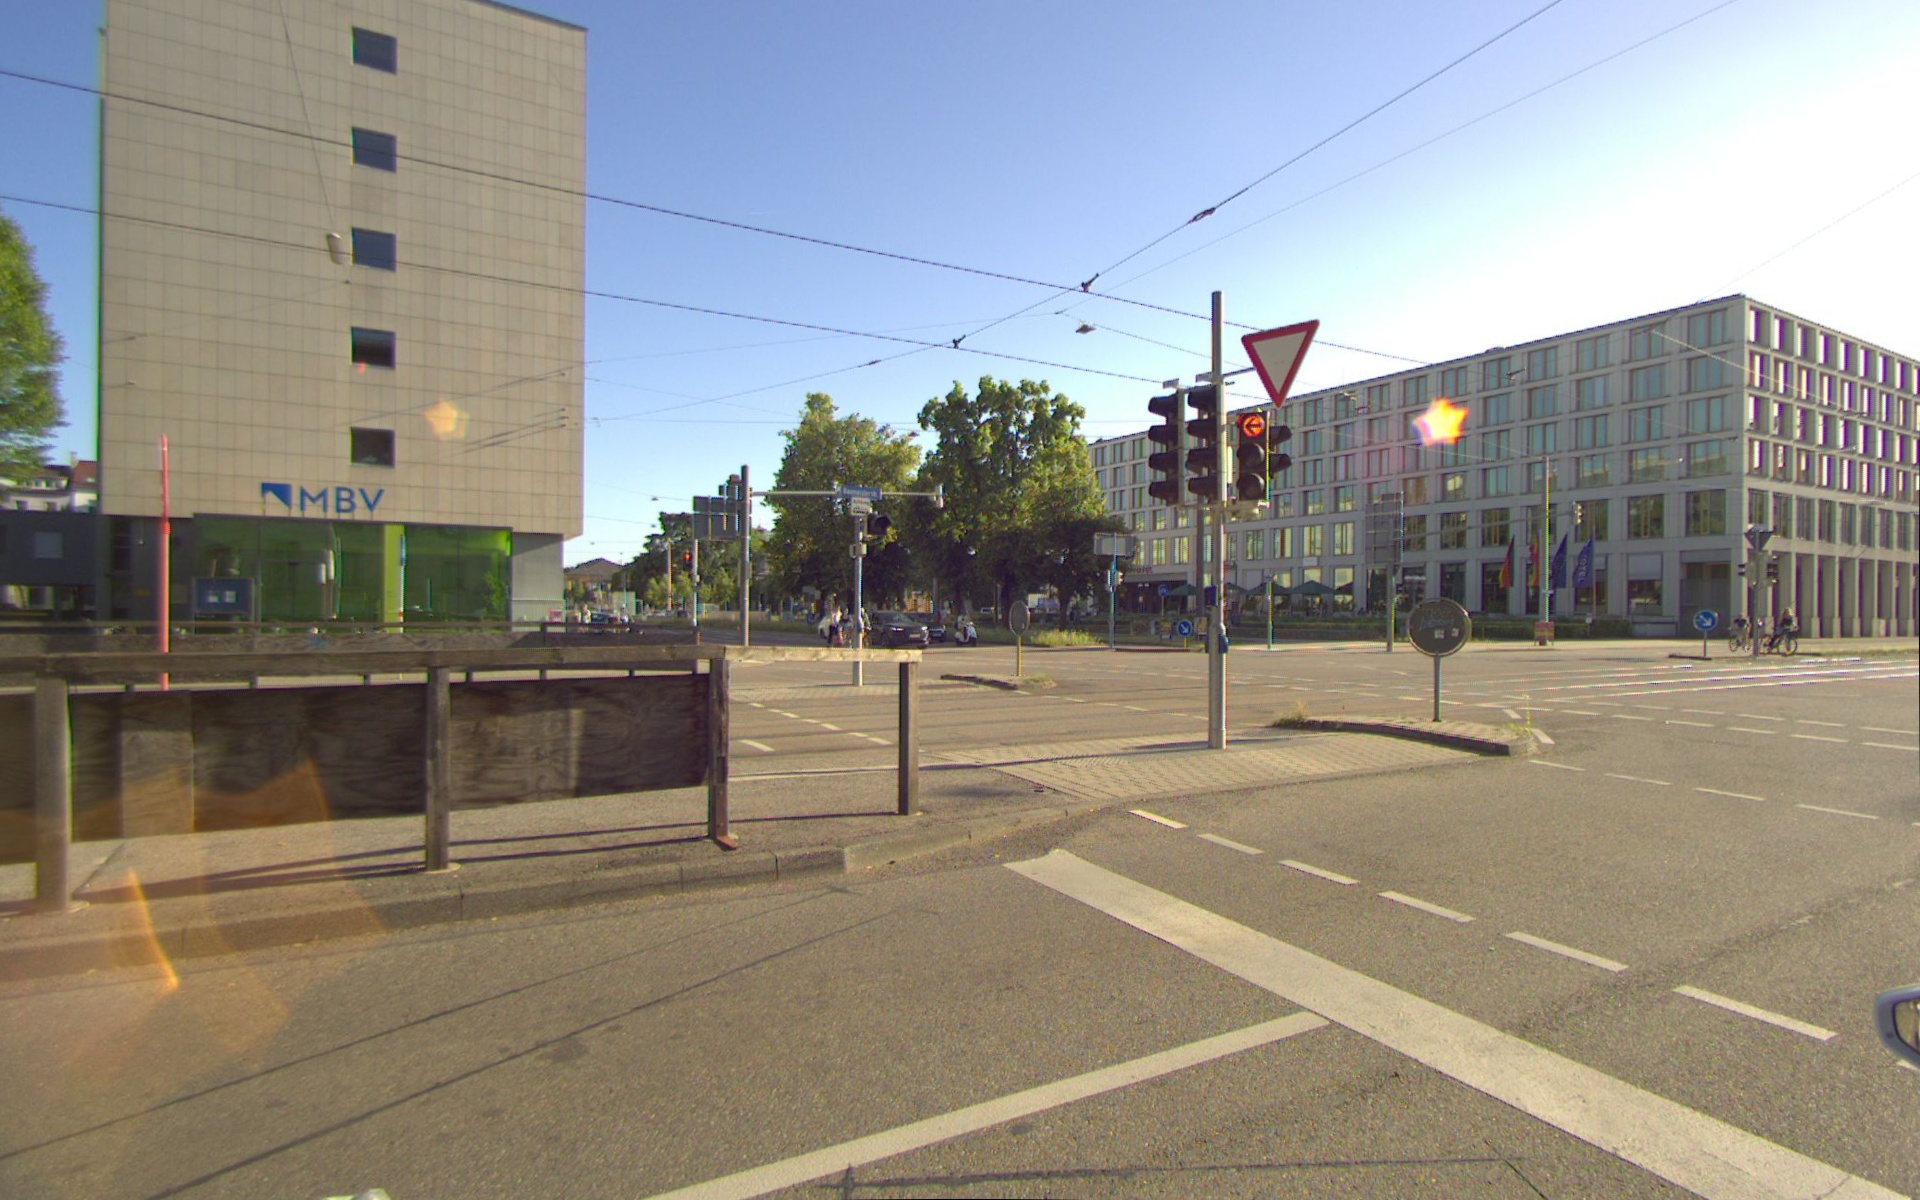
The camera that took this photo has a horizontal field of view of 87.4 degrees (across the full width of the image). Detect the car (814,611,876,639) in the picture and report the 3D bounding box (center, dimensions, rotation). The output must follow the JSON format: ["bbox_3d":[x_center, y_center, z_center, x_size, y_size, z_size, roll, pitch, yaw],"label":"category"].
[{"bbox_3d":[-6.683,1.423,58.203,1.979,1.537,3.962,1,-1,-34],"label":"car"}]

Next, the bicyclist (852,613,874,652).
[{"bbox_3d":[-3.943,1.330,40.830,0.576,1.563,0.890,1,-1,-27],"label":"bicyclist"}]

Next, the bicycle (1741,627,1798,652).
[{"bbox_3d":[28.361,1.380,35.234,0.562,0.834,1.718,0,-1,-2],"label":"bicycle"}]

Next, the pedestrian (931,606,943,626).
[{"bbox_3d":[-2.025,1.425,88.333,0.858,1.738,0.737,1,0,-26],"label":"pedestrian"}]

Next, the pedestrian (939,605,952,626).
[{"bbox_3d":[-1.266,1.344,86.919,0.858,1.738,0.737,1,0,-26],"label":"pedestrian"}]

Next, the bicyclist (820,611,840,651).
[{"bbox_3d":[-5.502,1.320,42.629,0.576,1.658,0.890,1,-1,-27],"label":"bicyclist"}]

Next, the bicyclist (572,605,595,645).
[{"bbox_3d":[-15.582,1.024,41.563,0.802,1.623,0.677,0,-1,-29],"label":"bicyclist"}]

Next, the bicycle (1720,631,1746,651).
[{"bbox_3d":[33.671,1.777,43.760,1.142,0.850,0.492,1,-1,-28],"label":"bicycle"}]

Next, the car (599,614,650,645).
[{"bbox_3d":[-18.190,1.569,54.339,1.975,1.472,4.179,1,0,-28],"label":"car"}]

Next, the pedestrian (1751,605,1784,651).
[{"bbox_3d":[28.355,0.985,35.279,0.562,1.616,0.744,0,-1,-3],"label":"pedestrian"}]

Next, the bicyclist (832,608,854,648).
[{"bbox_3d":[-4.702,1.129,40.431,0.577,1.563,0.833,0,-1,-32],"label":"bicyclist"}]

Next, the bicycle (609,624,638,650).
[{"bbox_3d":[-13.762,1.499,41.061,0.802,1.047,2.111,1,-1,-28],"label":"bicycle"}]

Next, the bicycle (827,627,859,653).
[{"bbox_3d":[-4.704,1.608,40.437,0.577,1.032,1.806,1,-2,-31],"label":"bicycle"}]

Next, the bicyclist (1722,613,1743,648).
[{"bbox_3d":[33.679,1.320,43.776,0.658,1.518,0.492,1,-1,-28],"label":"bicyclist"}]

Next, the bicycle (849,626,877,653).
[{"bbox_3d":[-3.933,1.593,40.798,0.576,1.032,1.666,1,-1,-27],"label":"bicycle"}]

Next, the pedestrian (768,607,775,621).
[{"bbox_3d":[-23.346,1.737,124.703,0.758,1.829,0.624,1,0,-6],"label":"pedestrian"}]

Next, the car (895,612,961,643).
[{"bbox_3d":[-1.652,1.356,50.624,1.674,1.506,3.719,1,-1,-33],"label":"car"}]

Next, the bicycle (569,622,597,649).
[{"bbox_3d":[-15.601,1.458,41.586,0.802,1.047,2.111,1,-1,-28],"label":"bicycle"}]

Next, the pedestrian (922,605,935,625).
[{"bbox_3d":[-2.723,1.309,87.174,0.858,1.738,0.737,1,0,-26],"label":"pedestrian"}]

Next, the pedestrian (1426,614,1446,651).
[{"bbox_3d":[22.301,1.516,47.077,0.596,1.703,0.604,0,-1,-14],"label":"pedestrian"}]

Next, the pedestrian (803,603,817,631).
[{"bbox_3d":[-10.834,1.215,72.549,0.772,2.040,0.747,1,-1,-31],"label":"pedestrian"}]

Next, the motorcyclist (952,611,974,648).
[{"bbox_3d":[0.141,1.338,45.405,0.624,1.601,0.812,-4,1,-28],"label":"motorcyclist"}]

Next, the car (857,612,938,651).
[{"bbox_3d":[-2.728,1.336,42.850,1.925,1.561,3.969,2,-1,-29],"label":"car"}]

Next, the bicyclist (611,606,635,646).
[{"bbox_3d":[-13.860,1.072,41.302,0.802,1.623,0.677,1,-1,-29],"label":"bicyclist"}]

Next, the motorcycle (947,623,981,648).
[{"bbox_3d":[0.182,1.582,45.375,0.624,1.030,1.972,-4,1,-28],"label":"motorcycle"}]

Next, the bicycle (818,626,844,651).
[{"bbox_3d":[-5.496,1.637,42.608,0.576,1.032,1.666,1,-1,-27],"label":"bicycle"}]
